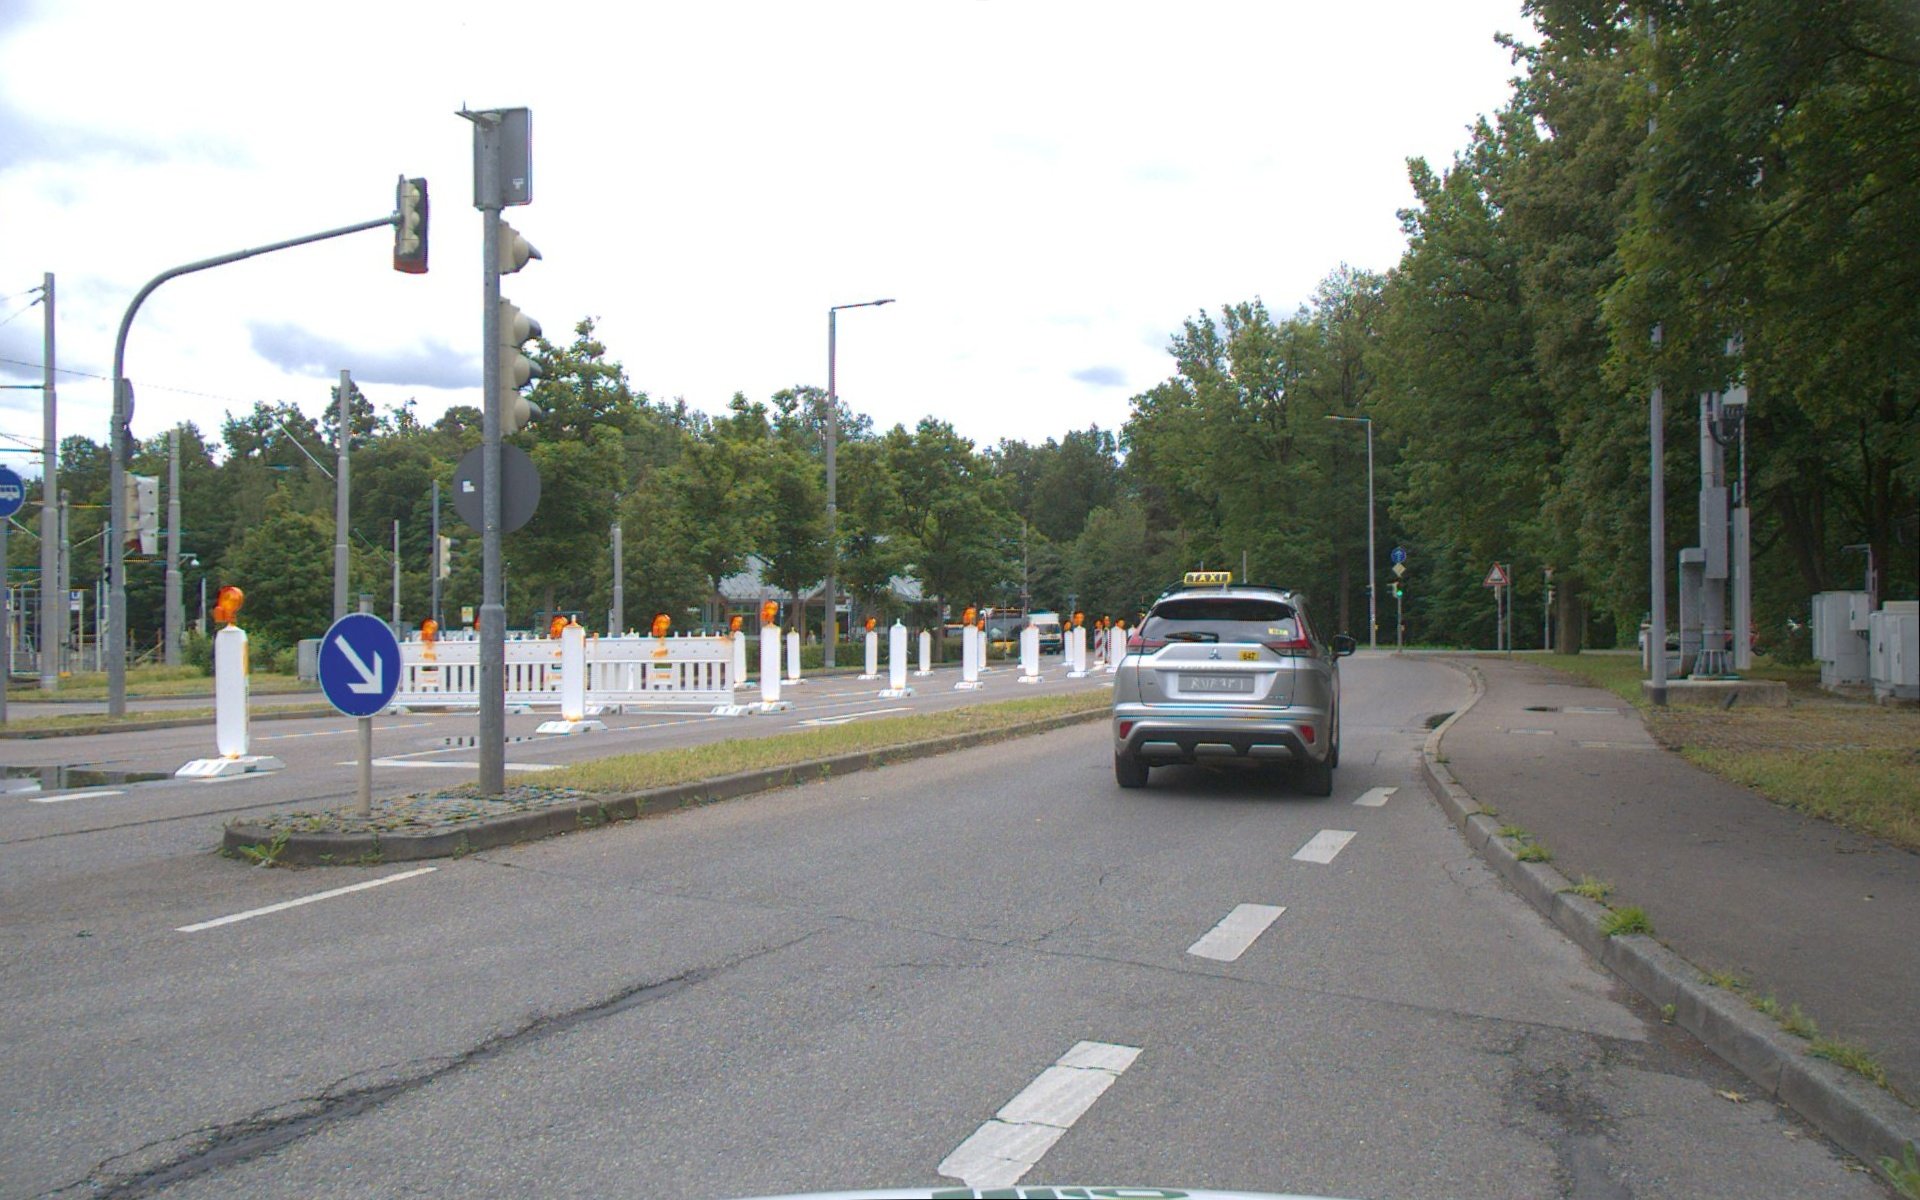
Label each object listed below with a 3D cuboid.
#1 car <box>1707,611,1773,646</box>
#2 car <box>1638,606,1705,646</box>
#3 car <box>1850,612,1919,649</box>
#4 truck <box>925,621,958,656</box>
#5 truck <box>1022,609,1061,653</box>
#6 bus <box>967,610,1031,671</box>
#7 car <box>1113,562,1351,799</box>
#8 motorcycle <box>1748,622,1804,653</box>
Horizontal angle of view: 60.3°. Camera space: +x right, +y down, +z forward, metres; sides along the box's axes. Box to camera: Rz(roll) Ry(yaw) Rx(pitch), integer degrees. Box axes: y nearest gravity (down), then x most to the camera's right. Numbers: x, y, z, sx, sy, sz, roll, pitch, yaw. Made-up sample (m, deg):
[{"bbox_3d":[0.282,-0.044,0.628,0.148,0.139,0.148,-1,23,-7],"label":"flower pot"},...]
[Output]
[{"bbox_3d":[30.719,1.117,65.104,1.802,1.349,3.988,-1,-1,33],"label":"car"},{"bbox_3d":[28.610,1.050,66.469,1.802,1.563,3.988,-1,-1,33],"label":"car"},{"bbox_3d":[35.199,1.153,62.703,1.523,1.349,4.003,-1,-1,13],"label":"car"},{"bbox_3d":[-1.862,3.923,166.863,2.436,3.345,8.505,-1,-3,-6],"label":"truck"},{"bbox_3d":[6.426,2.462,131.336,2.433,3.344,8.515,-1,-1,-2],"label":"truck"},{"bbox_3d":[2.357,2.517,105.681,2.766,3.666,12.791,-1,-1,-4],"label":"bus"},{"bbox_3d":[2.502,0.660,14.491,1.736,1.779,3.783,0,-2,14],"label":"car"},{"bbox_3d":[29.371,1.353,59.544,1.792,1.076,0.614,-1,-1,28],"label":"motorcycle"}]
